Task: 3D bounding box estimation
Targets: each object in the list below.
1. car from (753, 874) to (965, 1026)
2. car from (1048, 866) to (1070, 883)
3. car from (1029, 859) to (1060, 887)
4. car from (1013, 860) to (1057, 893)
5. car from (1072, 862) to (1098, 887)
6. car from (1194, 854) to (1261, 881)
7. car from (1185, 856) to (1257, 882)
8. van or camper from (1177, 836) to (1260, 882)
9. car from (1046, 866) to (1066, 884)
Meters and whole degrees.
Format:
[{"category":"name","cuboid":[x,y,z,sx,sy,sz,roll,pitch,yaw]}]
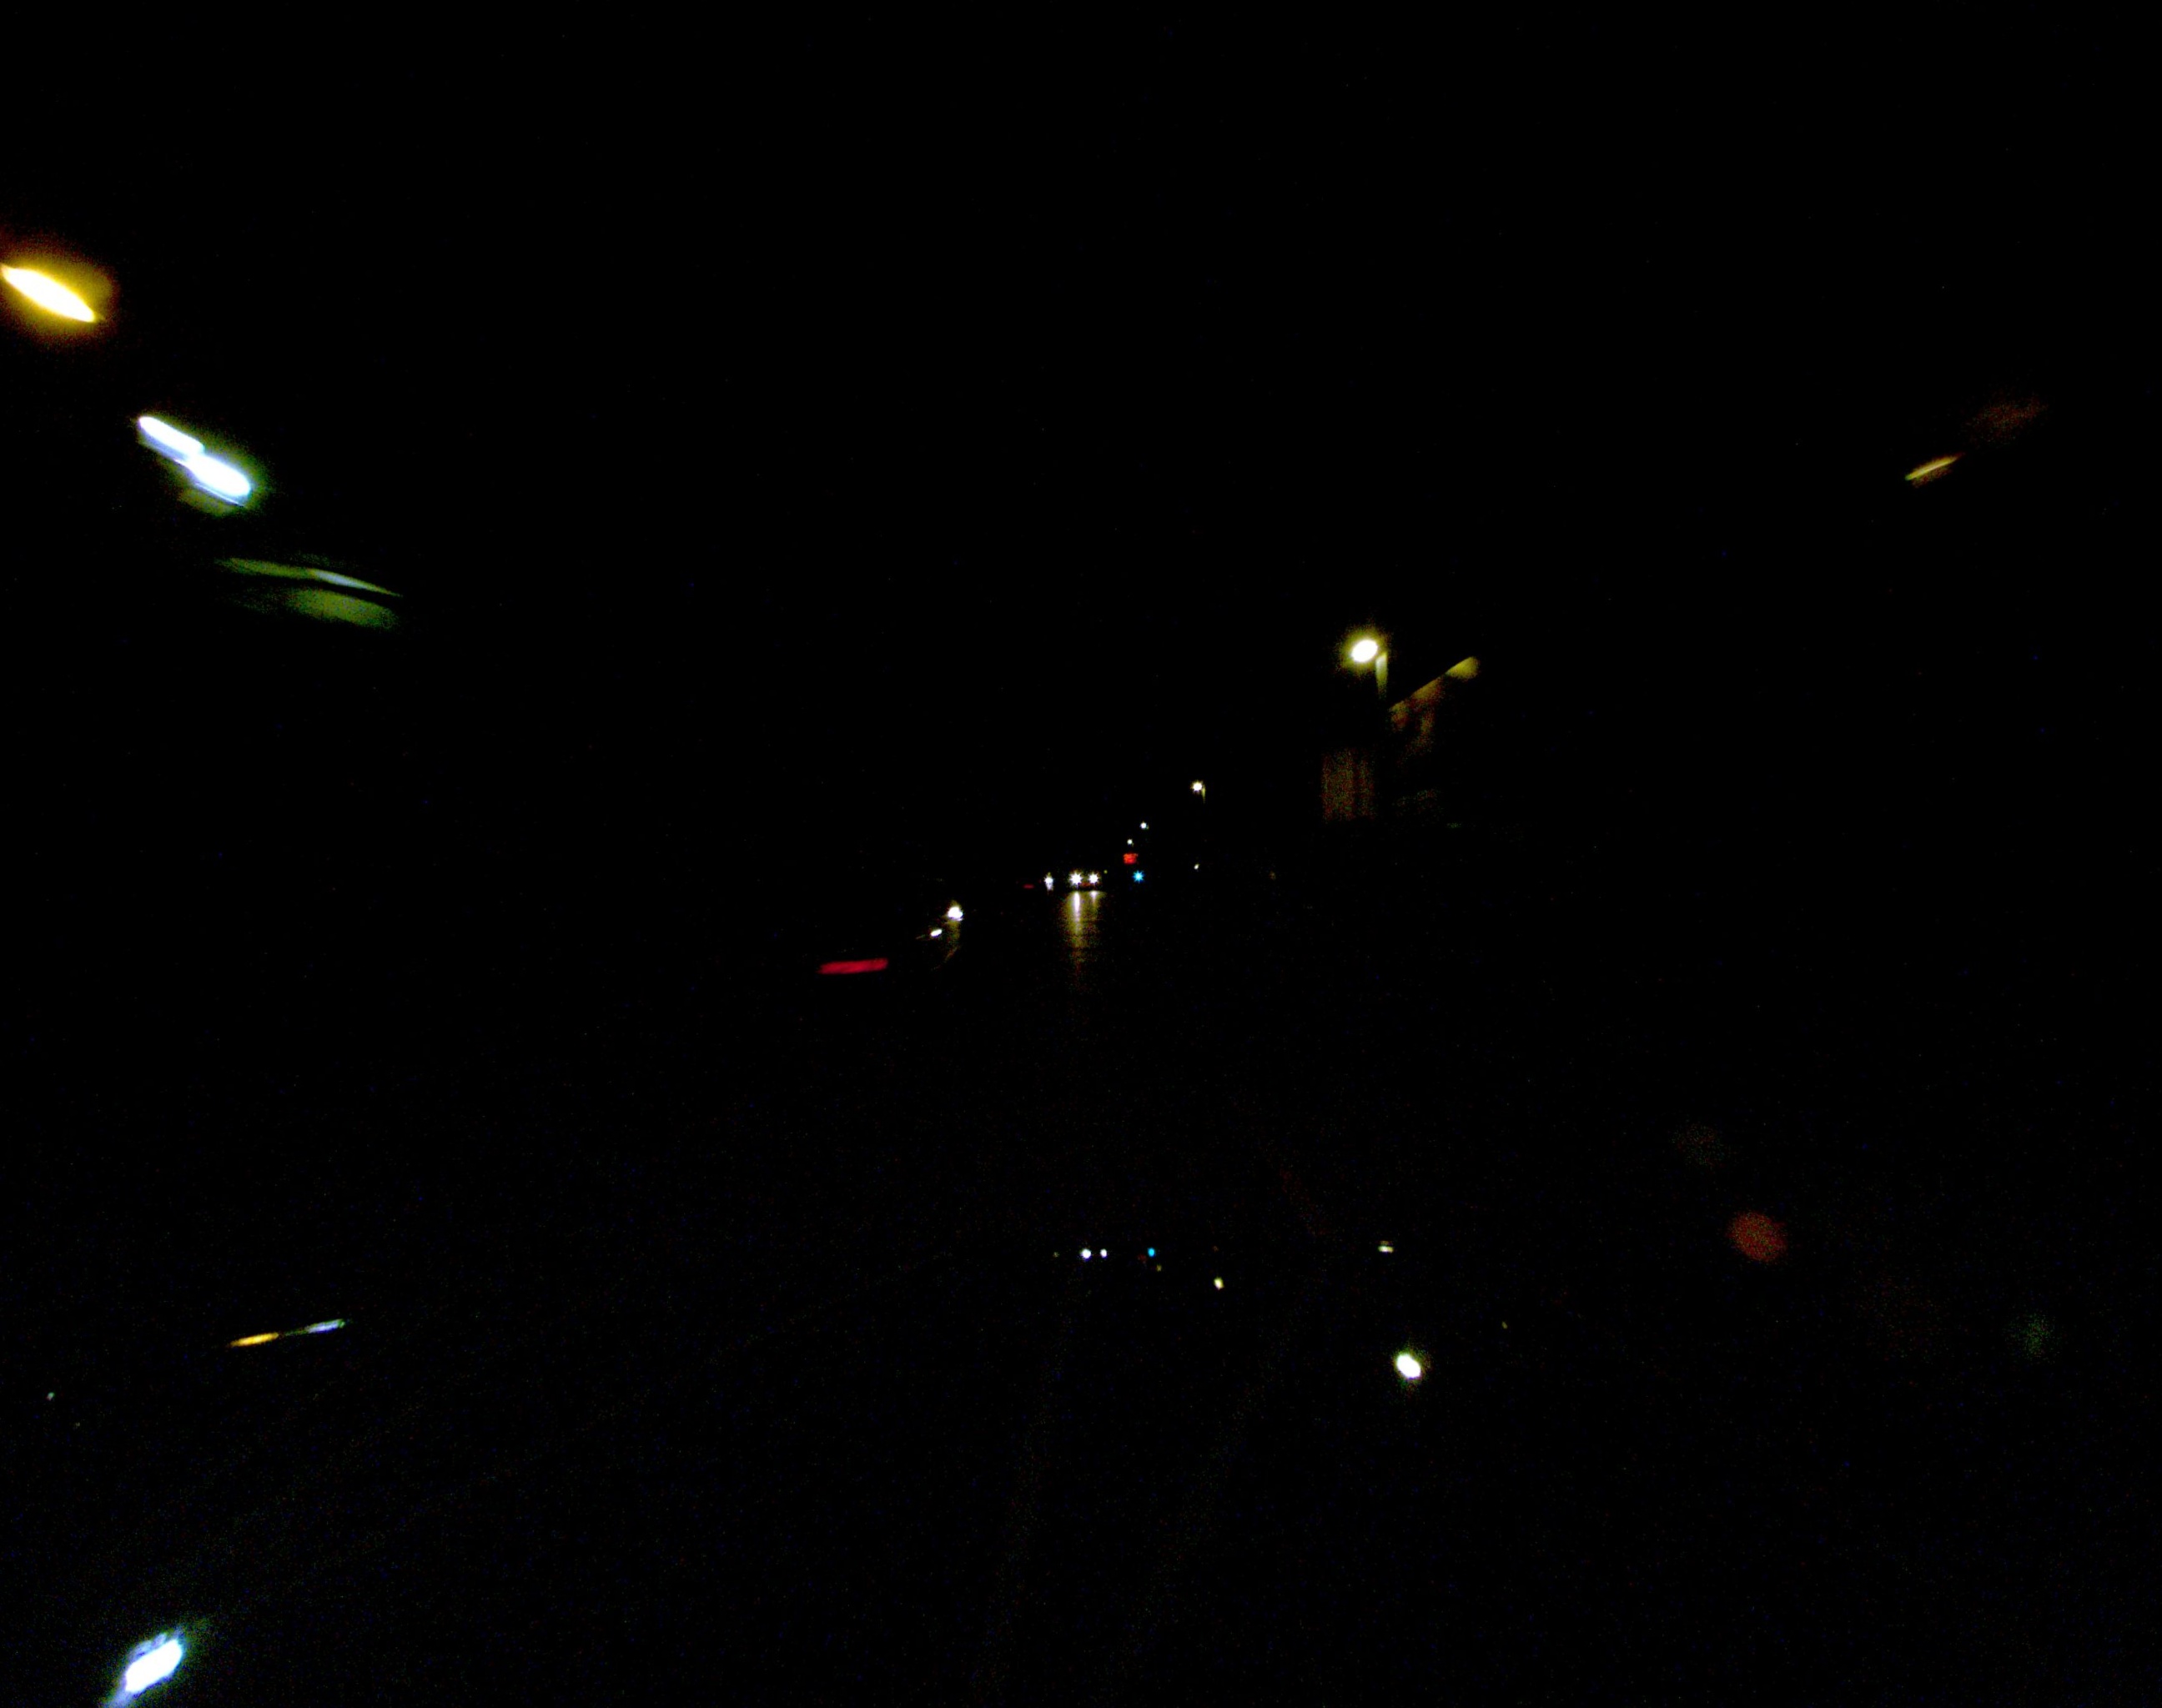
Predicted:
[{"category":"car","cuboid":[-2.734,1.102,10.417,1.768,1.467,4.275,-3,0,-3]},{"category":"car","cuboid":[-2.100,2.020,73.656,1.759,1.584,4.730,-2,-2,2]},{"category":"car","cuboid":[-2.462,1.327,51.879,1.723,1.750,4.759,-2,-1,1]},{"category":"car","cuboid":[-2.397,1.161,40.758,1.836,1.654,4.620,-2,0,3]},{"category":"car","cuboid":[0.256,1.329,47.572,1.513,1.492,3.051,-1,-2,2]},{"category":"car","cuboid":[9.177,0.845,47.756,3.820,1.545,1.928,-2,-2,0]},{"category":"car","cuboid":[9.293,1.003,50.582,4.427,1.604,2.065,-1,0,2]},{"category":"van or camper","cuboid":[9.795,0.321,54.330,5.416,3.092,2.131,-1,0,-9]},{"category":"car","cuboid":[-2.263,1.918,69.149,1.613,1.452,3.719,1,-3,1]}]
